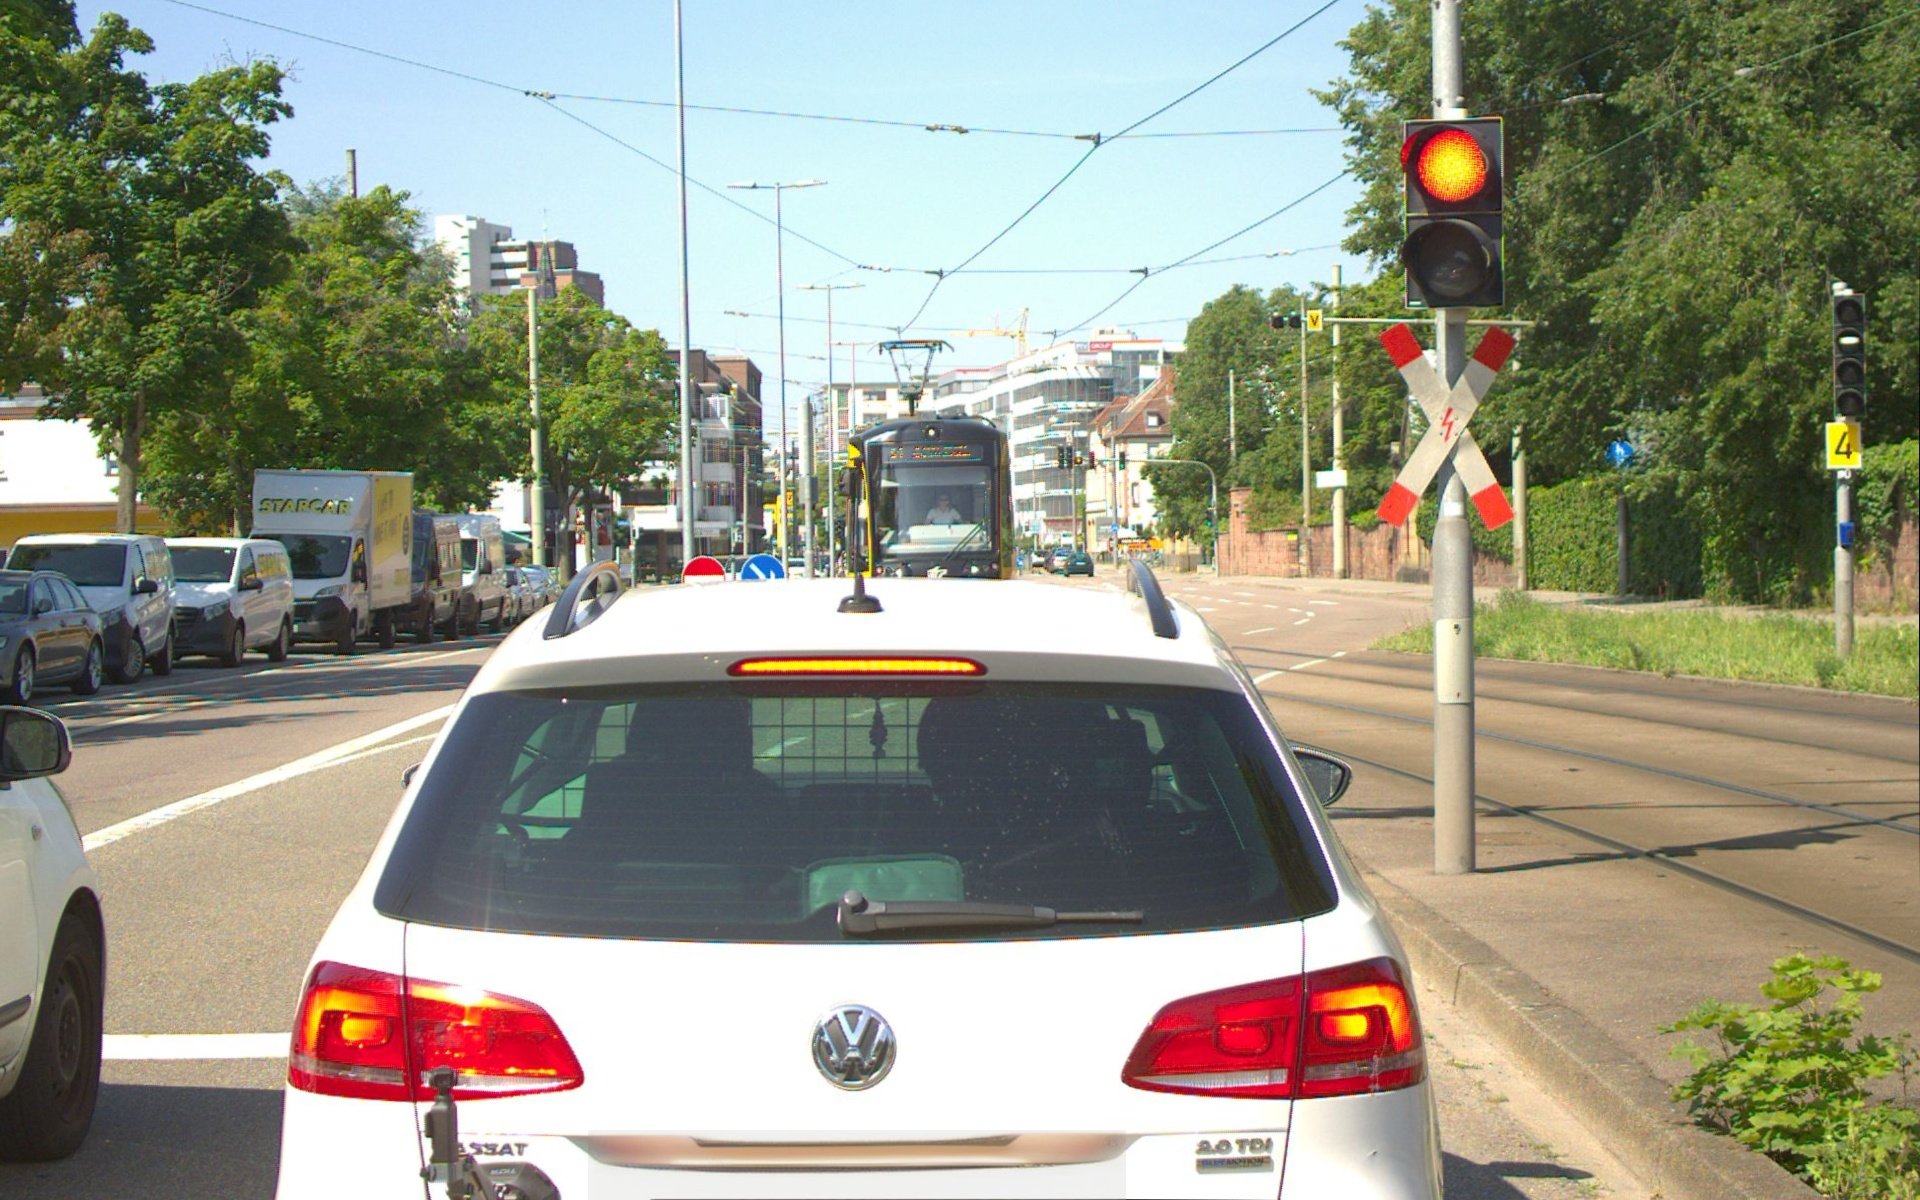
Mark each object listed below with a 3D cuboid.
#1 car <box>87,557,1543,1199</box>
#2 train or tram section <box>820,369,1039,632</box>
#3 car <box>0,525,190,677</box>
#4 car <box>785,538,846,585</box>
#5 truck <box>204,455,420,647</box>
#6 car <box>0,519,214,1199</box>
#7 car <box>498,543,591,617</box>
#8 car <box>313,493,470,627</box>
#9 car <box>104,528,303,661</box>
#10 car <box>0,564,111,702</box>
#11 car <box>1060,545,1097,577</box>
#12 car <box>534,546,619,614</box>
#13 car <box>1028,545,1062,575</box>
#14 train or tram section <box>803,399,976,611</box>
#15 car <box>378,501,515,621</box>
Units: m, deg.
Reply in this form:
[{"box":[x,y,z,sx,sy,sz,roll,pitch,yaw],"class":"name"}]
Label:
[{"box":[-0.190,0.669,6.213,1.762,1.425,4.000,-1,1,-1],"class":"car"},{"box":[-0.698,-1.591,57.224,2.870,3.842,12.393,-1,1,-4],"class":"train or tram section"},{"box":[-11.417,-0.032,45.319,1.863,1.861,5.075,1,1,-6],"class":"car"},{"box":[-4.729,-1.276,112.787,1.705,1.468,4.589,-2,1,1],"class":"car"},{"box":[-11.259,-0.872,60.316,2.421,3.139,6.997,1,1,0],"class":"truck"},{"box":[-2.935,0.598,7.348,1.662,1.542,4.547,0,1,0],"class":"car"},{"box":[-11.043,-0.558,91.685,1.863,1.861,5.414,1,1,-1],"class":"car"},{"box":[-11.240,-0.810,68.318,2.123,2.508,5.733,1,1,0],"class":"car"},{"box":[-11.345,-0.127,51.903,1.863,1.861,5.414,1,1,-1],"class":"car"},{"box":[-11.012,0.324,38.755,1.863,1.411,4.280,1,1,-1],"class":"car"},{"box":[6.997,-2.325,203.417,1.863,1.861,5.062,1,1,-1],"class":"car"},{"box":[-10.967,-0.606,98.602,1.863,1.861,5.414,1,1,-1],"class":"car"},{"box":[5.375,-2.558,218.363,1.863,1.861,5.062,1,1,-1],"class":"car"},{"box":[-1.577,-1.873,69.632,2.870,3.842,12.393,-1,1,-4],"class":"train or tram section"},{"box":[-11.263,-0.883,75.755,2.123,2.508,5.733,1,1,0],"class":"car"}]
